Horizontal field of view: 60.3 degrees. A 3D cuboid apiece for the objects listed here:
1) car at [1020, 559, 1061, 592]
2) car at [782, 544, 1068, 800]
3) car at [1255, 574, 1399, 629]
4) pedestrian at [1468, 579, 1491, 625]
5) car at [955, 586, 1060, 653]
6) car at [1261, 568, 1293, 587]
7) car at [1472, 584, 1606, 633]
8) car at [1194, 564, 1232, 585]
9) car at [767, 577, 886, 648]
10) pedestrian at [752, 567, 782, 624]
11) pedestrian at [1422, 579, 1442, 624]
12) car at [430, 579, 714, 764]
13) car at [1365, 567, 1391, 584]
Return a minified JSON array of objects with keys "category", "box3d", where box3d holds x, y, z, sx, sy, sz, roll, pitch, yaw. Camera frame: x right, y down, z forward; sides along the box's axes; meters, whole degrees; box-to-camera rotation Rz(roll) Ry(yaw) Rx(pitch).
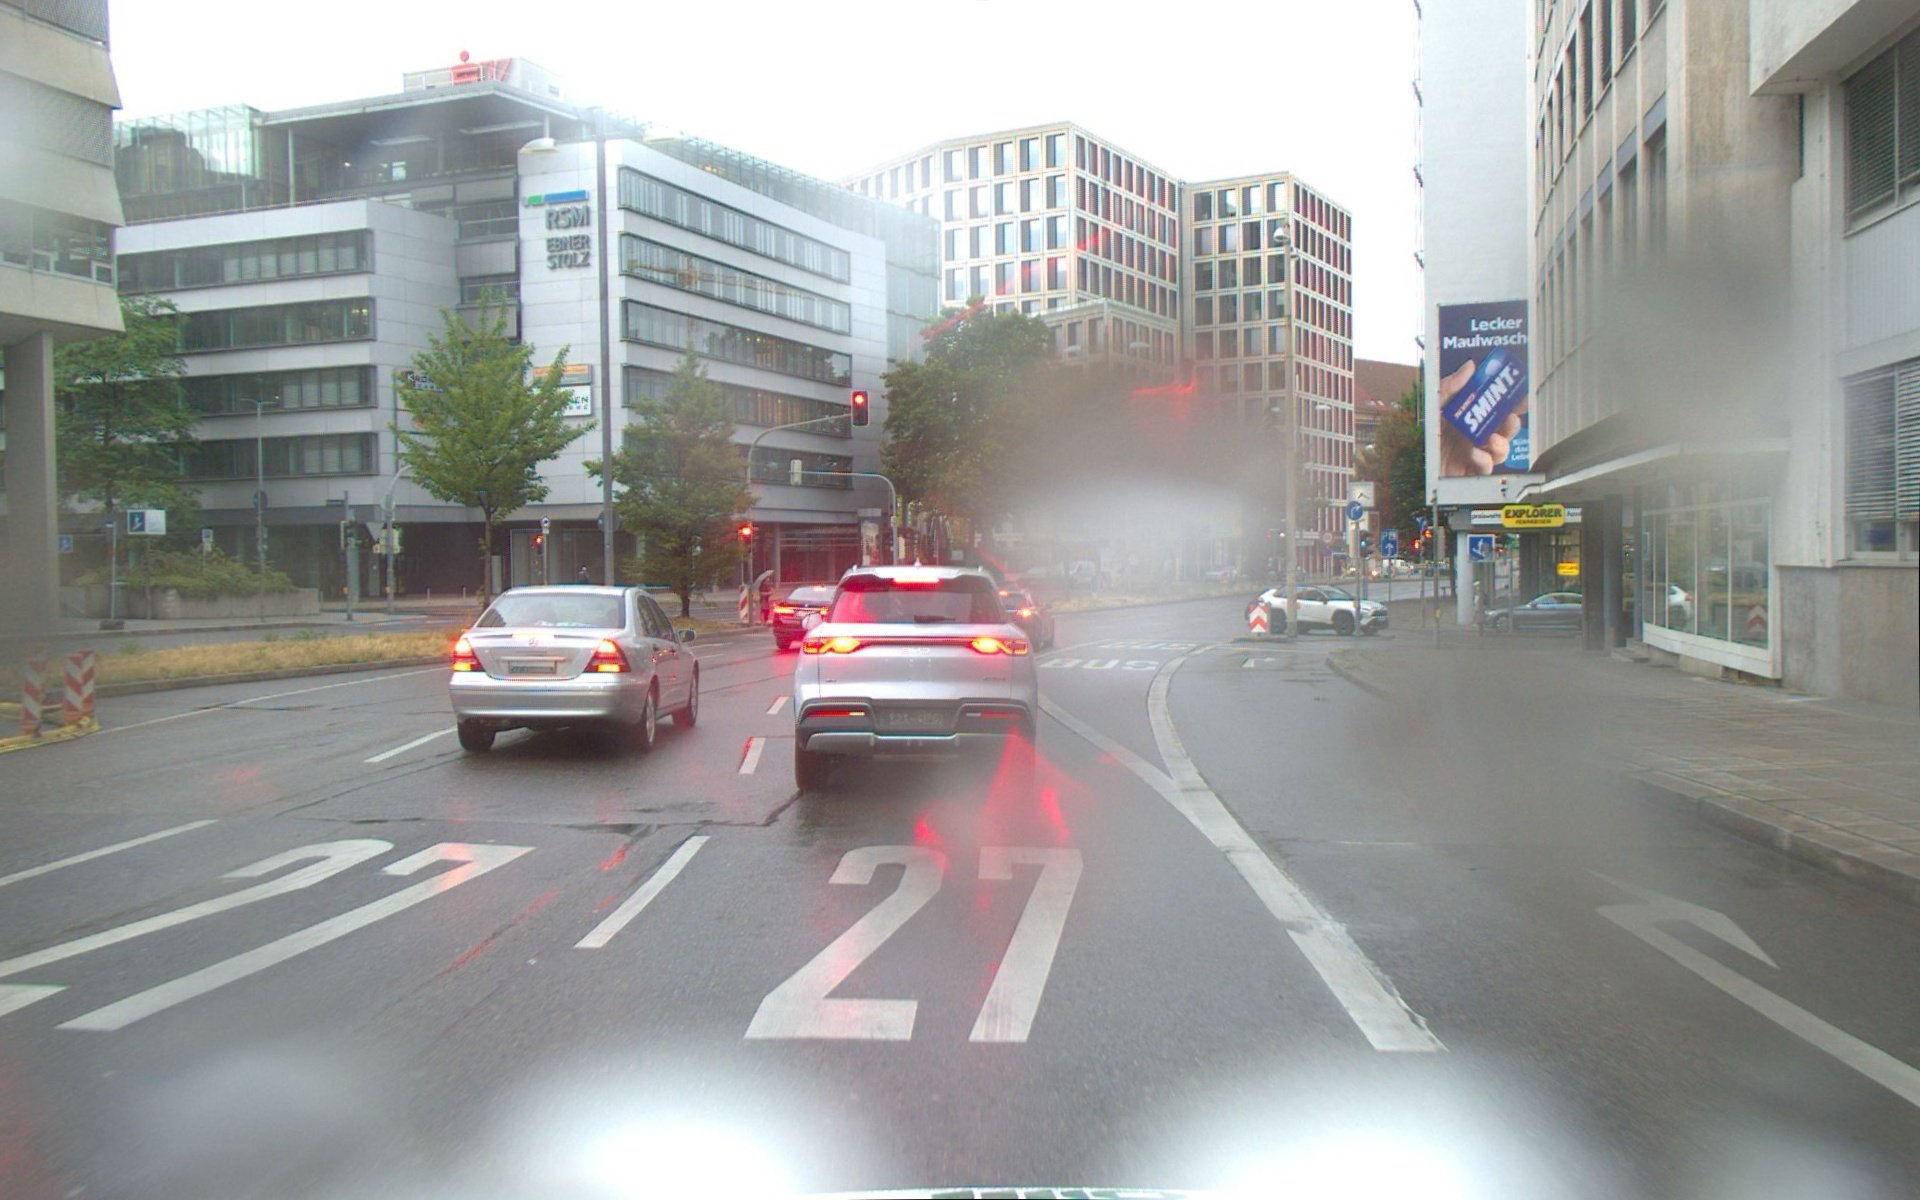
[{"category":"car","box3d":[5.642,-1.707,115.181,1.701,2.199,4.495,1,0,19]},{"category":"car","box3d":[-0.331,0.465,13.537,1.954,1.739,4.480,0,1,-3]},{"category":"car","box3d":[12.360,0.006,55.956,1.984,1.780,4.460,0,1,-42]},{"category":"pedestrian","box3d":[19.298,0.063,61.465,0.751,1.707,0.729,0,0,23]},{"category":"car","box3d":[1.221,0.439,40.660,1.913,1.557,4.004,0,0,12]},{"category":"car","box3d":[31.191,-2.257,162.753,1.955,1.735,4.304,1,2,28]},{"category":"car","box3d":[19.909,0.273,56.867,4.253,1.536,1.916,2,1,21]},{"category":"car","box3d":[22.050,-2.212,144.093,1.955,1.735,4.304,1,2,28]},{"category":"car","box3d":[-3.060,0.266,38.716,1.913,1.557,4.004,0,0,9]},{"category":"pedestrian","box3d":[-6.101,-0.148,52.329,0.903,1.768,0.729,0,0,-4]},{"category":"pedestrian","box3d":[17.682,0.058,61.973,0.712,1.698,0.691,0,-1,16]},{"category":"car","box3d":[-3.484,0.565,15.635,1.647,1.512,4.197,0,1,1]},{"category":"car","box3d":[46.356,-2.704,183.277,1.955,1.735,3.996,1,2,27]}]
